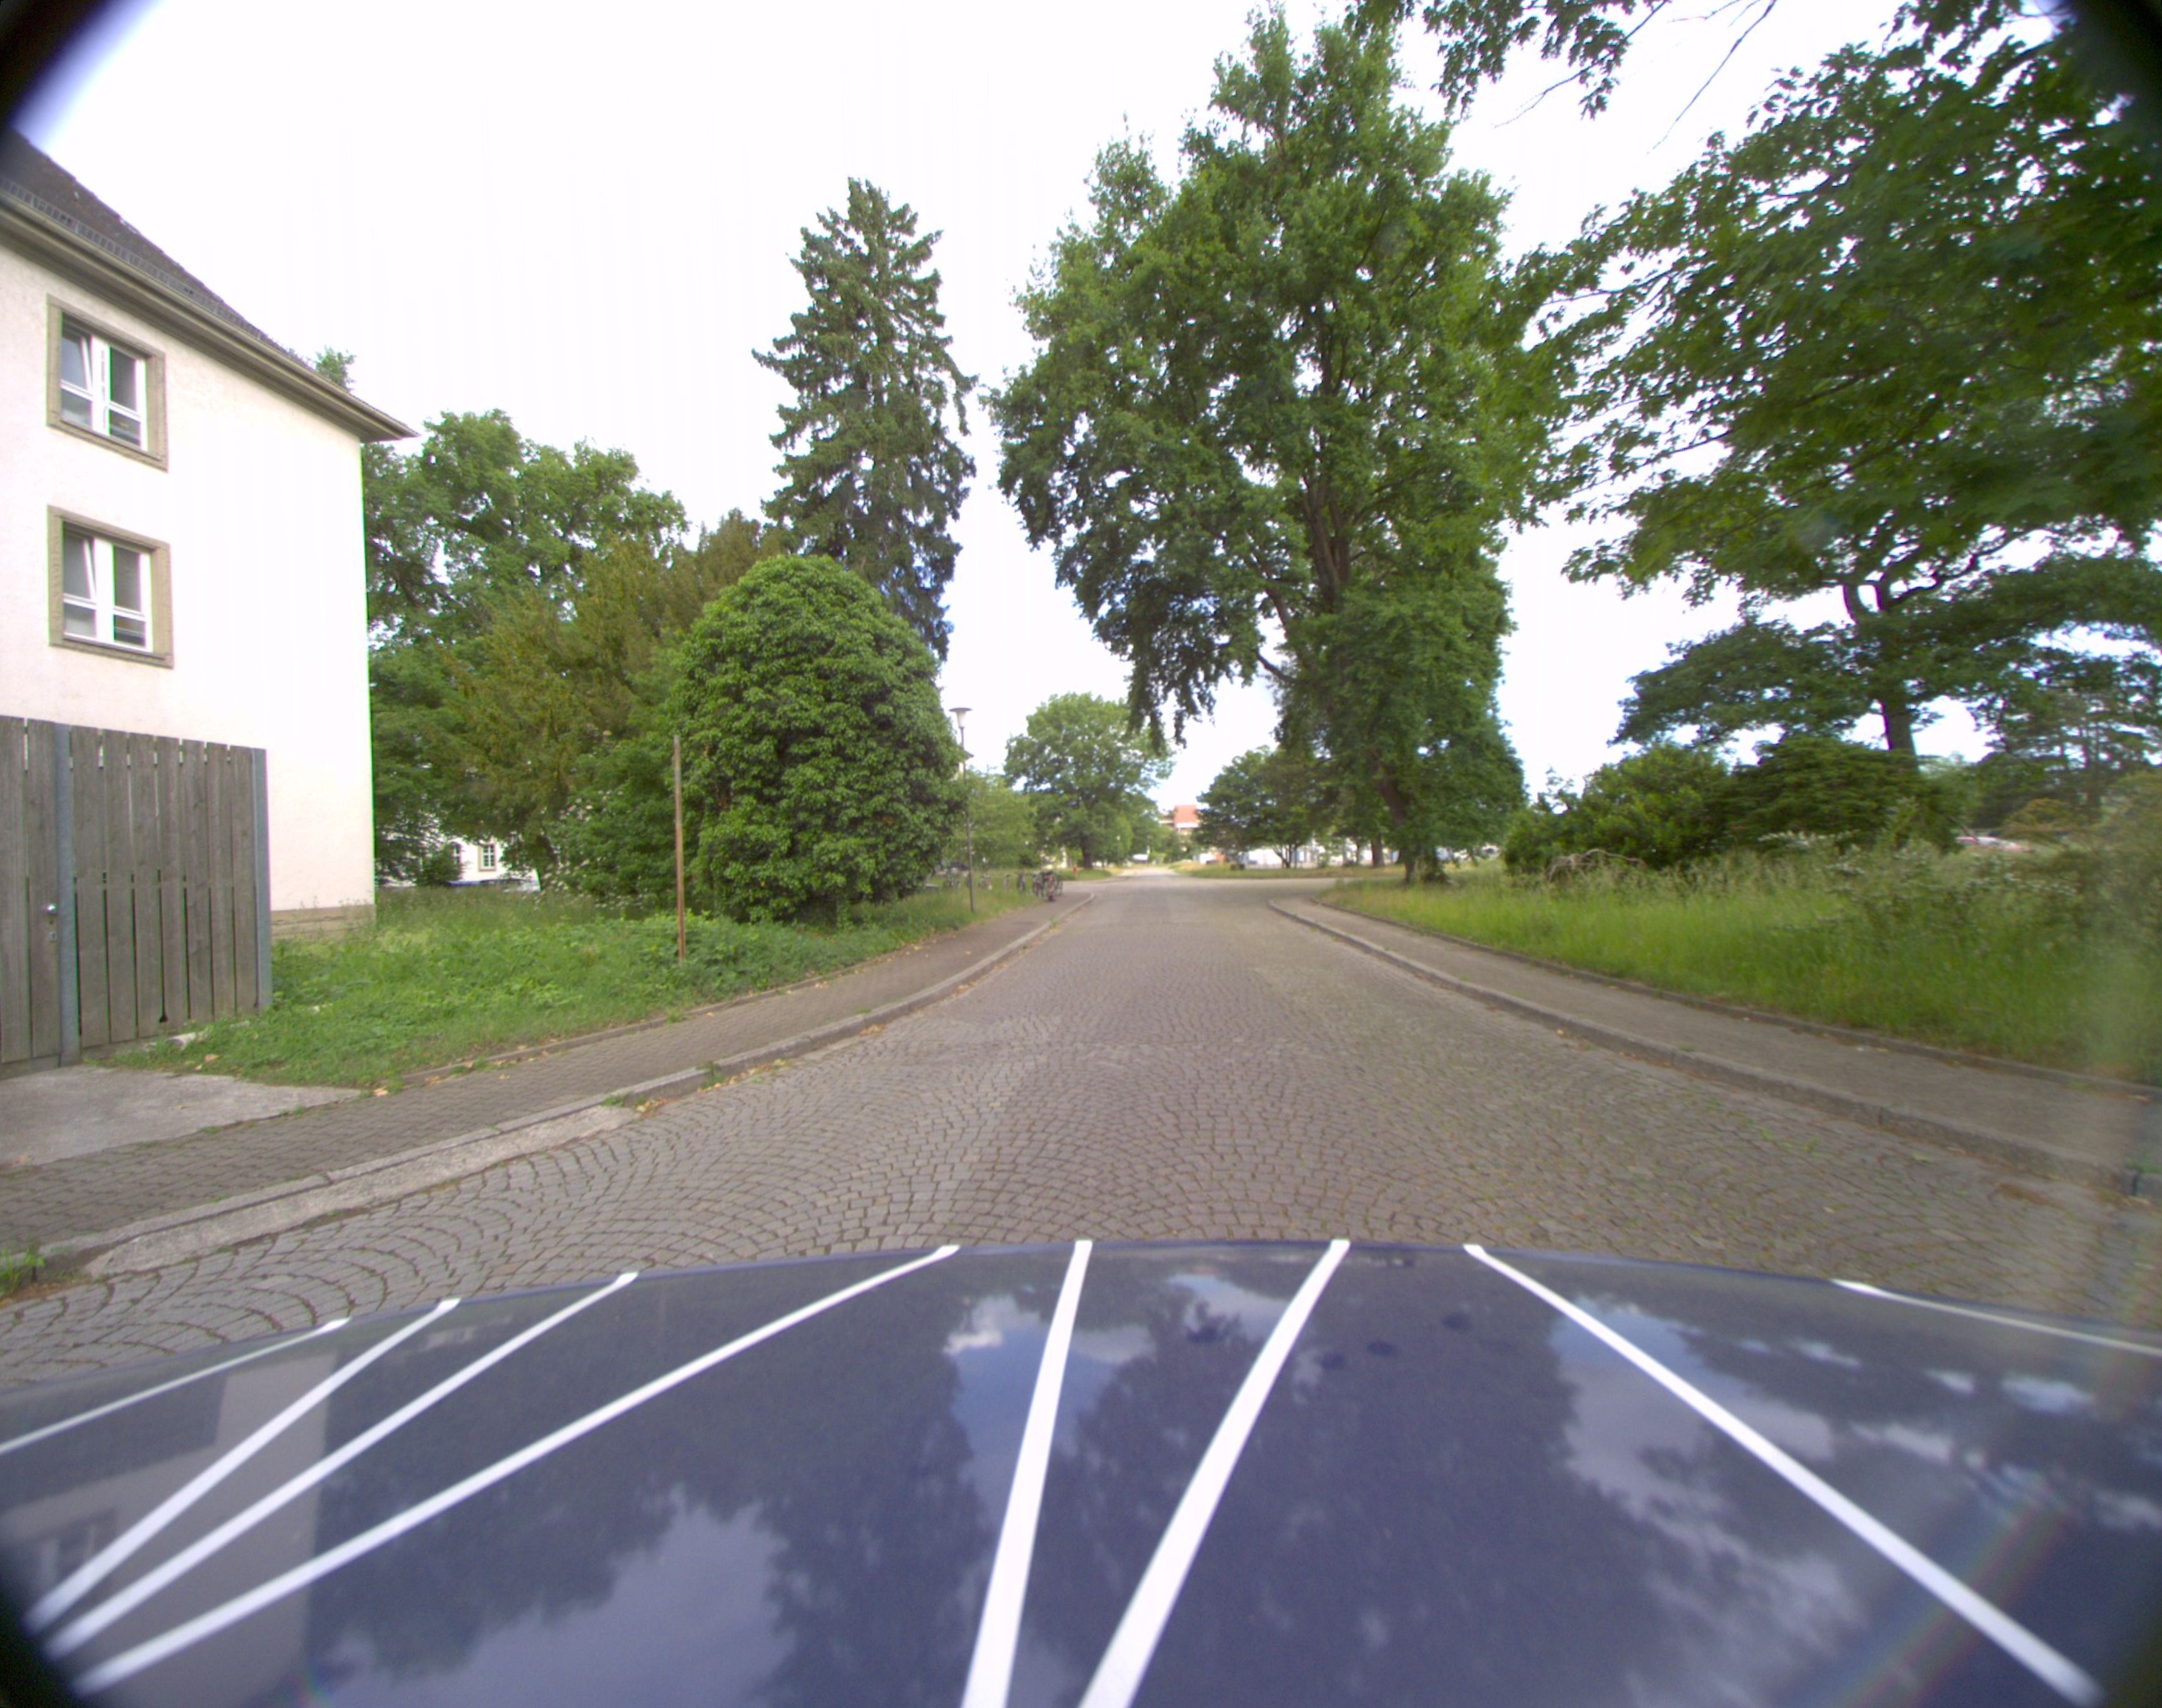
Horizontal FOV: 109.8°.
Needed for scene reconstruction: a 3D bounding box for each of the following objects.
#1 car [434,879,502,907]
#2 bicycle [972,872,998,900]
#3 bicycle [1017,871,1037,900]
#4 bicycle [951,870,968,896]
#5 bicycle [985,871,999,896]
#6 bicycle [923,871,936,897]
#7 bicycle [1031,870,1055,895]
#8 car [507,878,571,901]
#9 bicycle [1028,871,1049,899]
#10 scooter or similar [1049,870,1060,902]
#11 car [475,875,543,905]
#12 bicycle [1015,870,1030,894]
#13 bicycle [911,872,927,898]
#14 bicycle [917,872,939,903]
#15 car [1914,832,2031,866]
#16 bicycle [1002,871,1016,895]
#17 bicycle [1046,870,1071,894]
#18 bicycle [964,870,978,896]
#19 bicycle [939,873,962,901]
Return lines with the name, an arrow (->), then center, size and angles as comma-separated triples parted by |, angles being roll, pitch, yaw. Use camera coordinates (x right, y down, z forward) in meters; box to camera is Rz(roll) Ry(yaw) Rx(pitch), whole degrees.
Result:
car -> -38.120, 2.423, 47.333 | 1.383, 1.555, 3.250 | -2, 0, 5
bicycle -> -3.908, 1.277, 30.813 | 0.619, 1.059, 1.823 | -2, 0, -20
bicycle -> -2.224, 1.266, 31.053 | 0.551, 1.108, 1.803 | -2, 0, -12
bicycle -> -5.491, 1.291, 34.287 | 0.478, 1.105, 1.763 | -2, 0, -16
bicycle -> -4.064, 1.326, 34.589 | 0.478, 1.002, 1.665 | -2, 1, -11
bicycle -> -6.766, 1.335, 33.975 | 0.478, 1.105, 1.764 | -2, 0, -11
bicycle -> -1.750, 1.286, 35.096 | 0.478, 1.068, 1.619 | -3, 2, -25
car -> -32.717, 2.152, 45.969 | 1.295, 1.210, 3.250 | -2, 0, 5
bicycle -> -1.755, 1.251, 31.216 | 0.551, 1.108, 1.768 | -2, 0, -12
scooter or similar -> -1.035, 1.244, 29.911 | 0.357, 1.202, 1.137 | -2, 0, 1
car -> -34.945, 2.177, 46.514 | 1.438, 1.651, 3.250 | -2, 0, 5
bicycle -> -2.668, 1.274, 34.655 | 0.478, 1.002, 1.665 | -2, 1, -11
bicycle -> -7.182, 1.354, 33.781 | 0.442, 1.105, 1.651 | -2, 0, -5
bicycle -> -6.262, 1.361, 31.174 | 0.551, 1.164, 1.754 | -2, 0, -3
car -> 42.585, -0.201, 36.413 | 1.600, 1.473, 3.502 | -2, -2, 4
bicycle -> -3.288, 1.297, 34.602 | 0.478, 1.002, 1.665 | -2, 1, -11
bicycle -> -1.047, 1.281, 35.005 | 0.478, 1.002, 1.619 | -3, 2, -25
bicycle -> -4.963, 1.269, 34.195 | 0.478, 1.105, 1.764 | -2, 0, -11
bicycle -> -5.242, 1.322, 30.450 | 0.552, 1.059, 1.751 | -2, 0, -20
